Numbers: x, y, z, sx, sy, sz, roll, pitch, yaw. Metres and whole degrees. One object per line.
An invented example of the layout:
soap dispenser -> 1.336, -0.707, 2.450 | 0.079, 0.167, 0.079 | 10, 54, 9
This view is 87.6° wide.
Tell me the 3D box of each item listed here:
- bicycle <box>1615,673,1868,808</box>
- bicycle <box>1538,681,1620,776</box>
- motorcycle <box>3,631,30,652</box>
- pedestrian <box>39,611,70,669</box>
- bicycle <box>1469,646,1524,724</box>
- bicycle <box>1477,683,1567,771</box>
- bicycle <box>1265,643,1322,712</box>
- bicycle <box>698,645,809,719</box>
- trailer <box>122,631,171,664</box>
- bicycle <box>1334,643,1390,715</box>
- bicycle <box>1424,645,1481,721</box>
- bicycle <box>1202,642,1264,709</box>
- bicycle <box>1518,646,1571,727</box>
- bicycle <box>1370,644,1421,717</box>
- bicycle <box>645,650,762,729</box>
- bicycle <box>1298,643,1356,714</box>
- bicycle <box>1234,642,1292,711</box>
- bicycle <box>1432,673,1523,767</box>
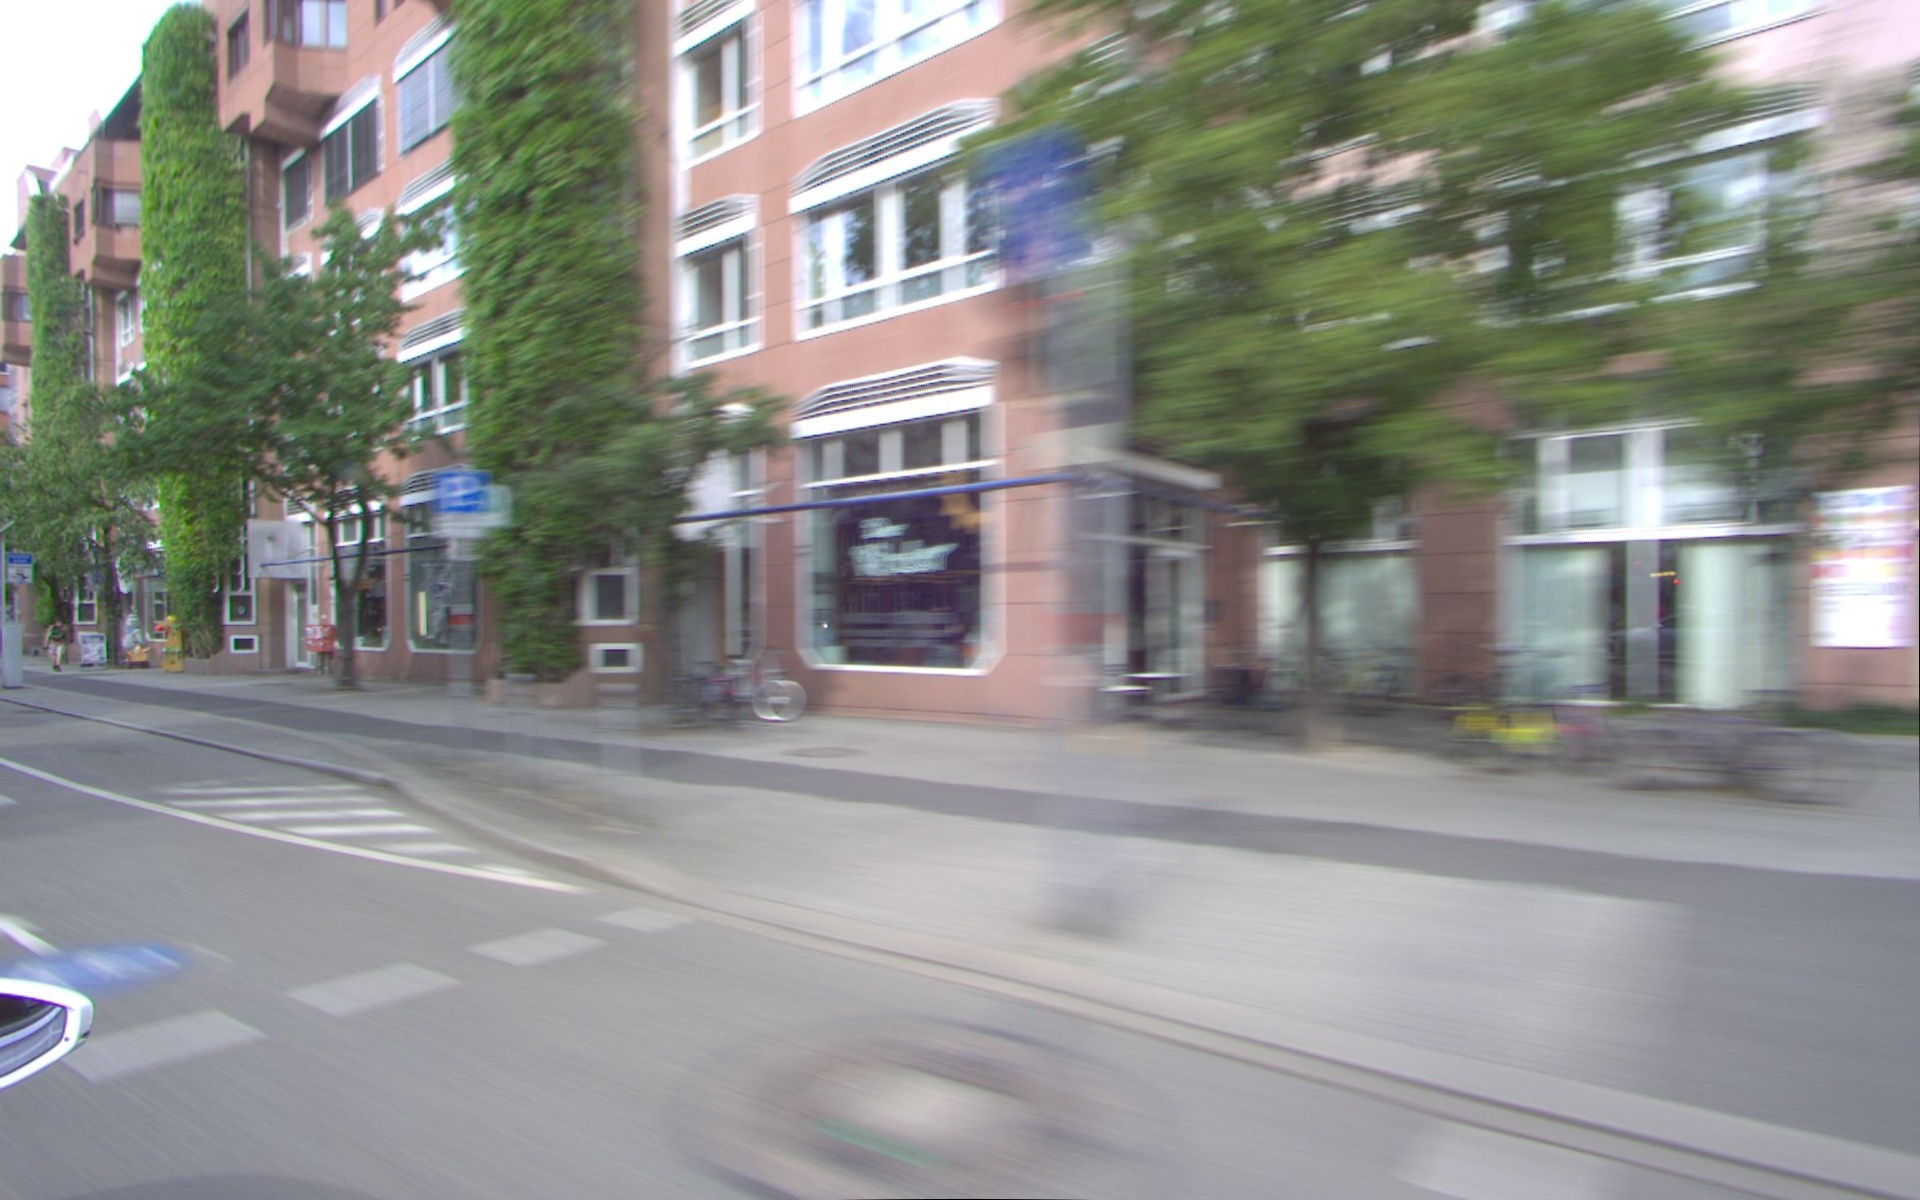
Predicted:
bicycle -> 6.836, 1.200, 8.875 | 1.710, 1.021, 0.616 | -1, -1, 32
bicycle -> 6.449, 1.306, 10.416 | 0.449, 0.849, 1.291 | 0, -1, 45
motorcycle -> -53.319, 2.351, 56.589 | 2.405, 1.151, 0.753 | -1, -1, 38
pedestrian -> -30.034, 1.318, 33.216 | 0.773, 1.883, 0.644 | 0, 0, 38
bicycle -> 7.809, 1.199, 14.546 | 0.539, 1.021, 1.725 | 0, -1, 34
bicycle -> 6.105, 1.351, 10.867 | 1.289, 0.824, 0.440 | 1, -1, -41
bicycle -> 5.402, 1.219, 16.156 | 0.431, 1.021, 1.725 | 0, -1, 34
bicycle -> -3.114, 1.206, 15.046 | 1.711, 1.021, 0.615 | -1, -1, 33
trailer -> -28.071, 1.634, 34.593 | 0.979, 1.073, 1.602 | 0, -1, -27
bicycle -> 6.293, 1.208, 15.640 | 0.472, 1.021, 1.725 | 0, -1, 34
bicycle -> 7.348, 1.201, 14.909 | 0.539, 1.021, 1.725 | 0, -1, 34
bicycle -> 4.566, 1.226, 16.665 | 0.465, 1.021, 1.725 | 0, -1, 34
bicycle -> 8.330, 1.196, 14.247 | 0.539, 1.021, 1.725 | 0, -1, 34
bicycle -> 6.708, 1.203, 15.392 | 0.418, 1.021, 1.725 | 0, -1, 34
bicycle -> -3.653, 1.243, 14.209 | 1.711, 1.021, 0.615 | -1, -1, 33
bicycle -> 5.846, 1.213, 15.906 | 0.465, 1.021, 1.725 | 0, -1, 34
bicycle -> 4.984, 1.226, 16.422 | 0.425, 1.021, 1.725 | 0, -1, 34
bicycle -> 5.837, 1.318, 11.273 | 1.288, 0.880, 0.450 | -3, 2, -41
